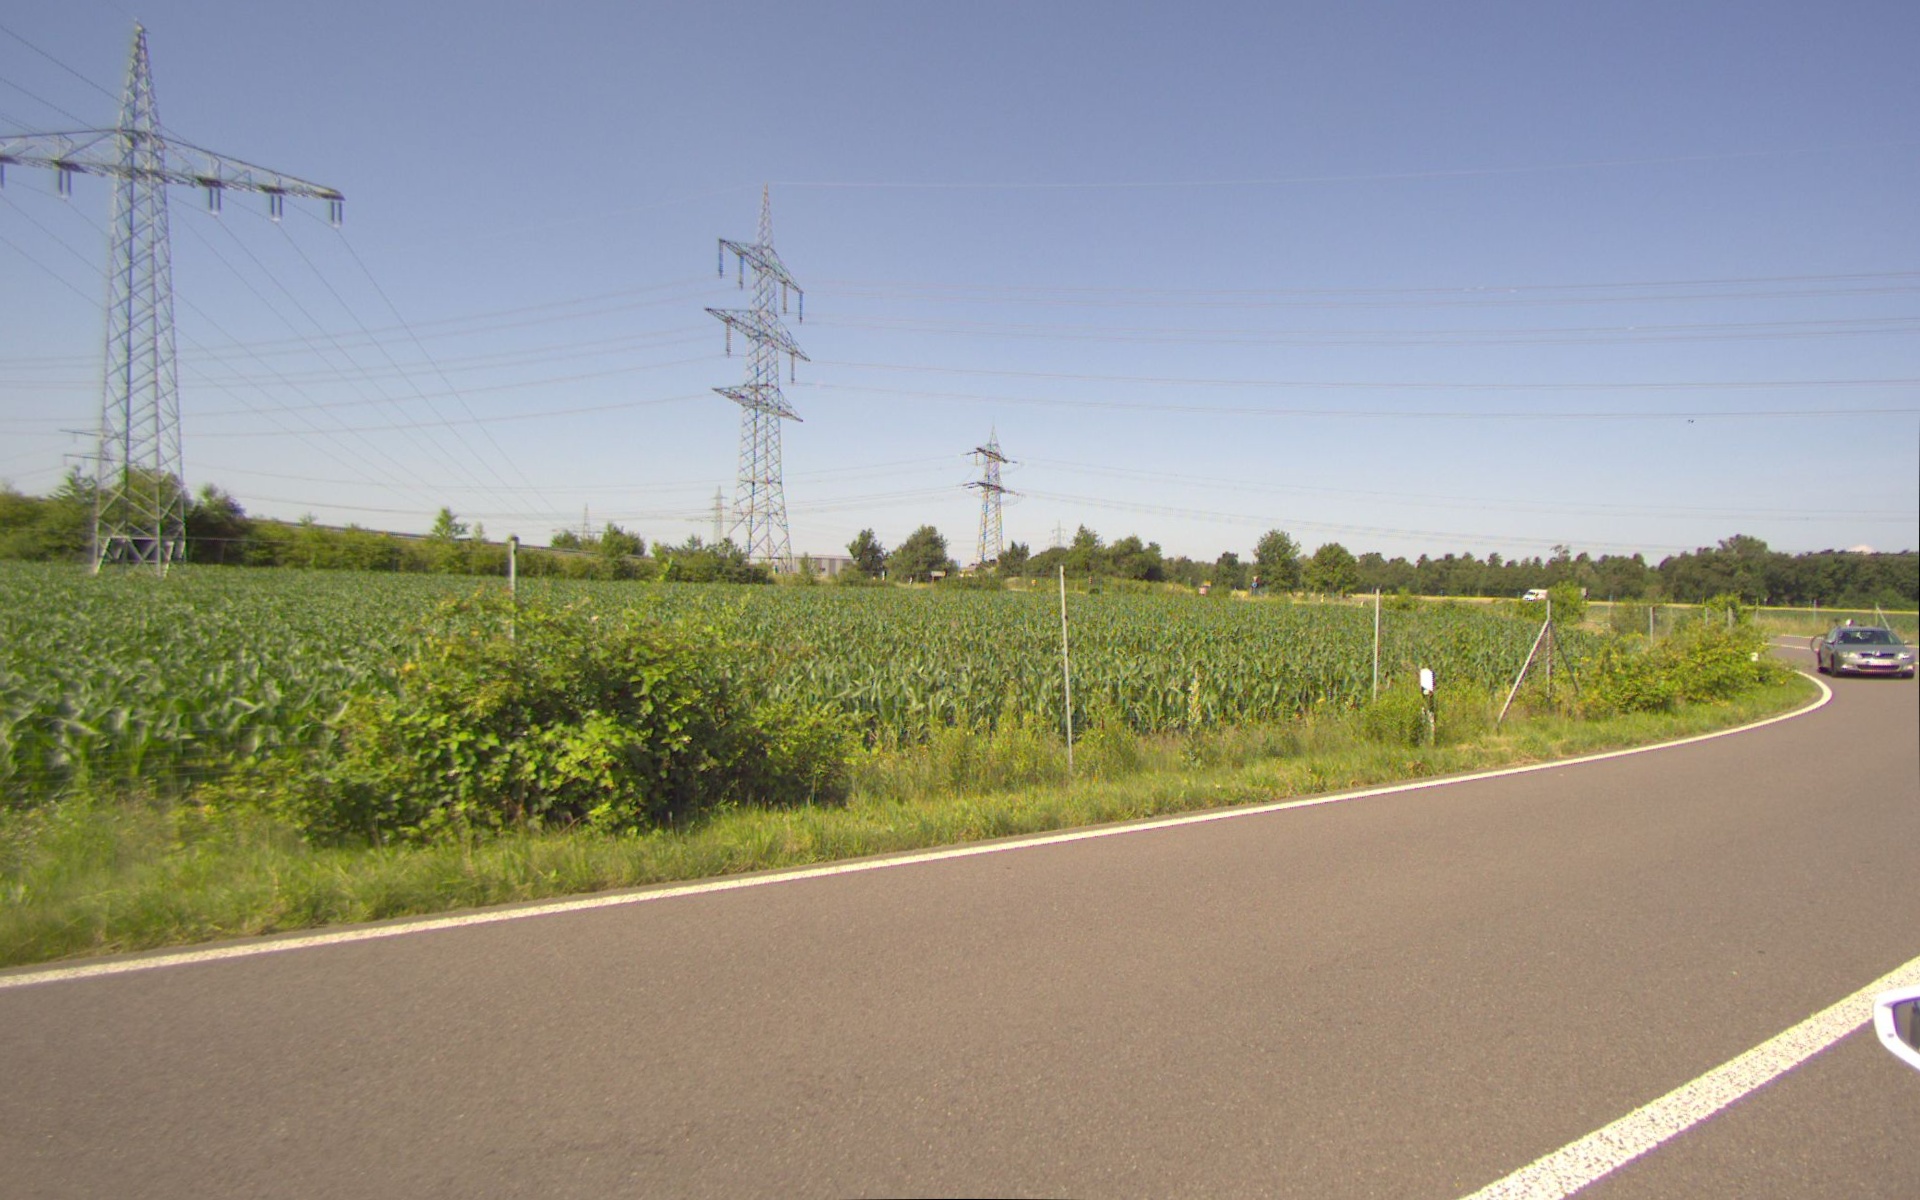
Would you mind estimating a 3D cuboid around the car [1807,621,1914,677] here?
[{"bbox_3d":[26.839,1.417,30.088,1.843,1.500,5.116,-3,-2,36],"label":"car"}]
